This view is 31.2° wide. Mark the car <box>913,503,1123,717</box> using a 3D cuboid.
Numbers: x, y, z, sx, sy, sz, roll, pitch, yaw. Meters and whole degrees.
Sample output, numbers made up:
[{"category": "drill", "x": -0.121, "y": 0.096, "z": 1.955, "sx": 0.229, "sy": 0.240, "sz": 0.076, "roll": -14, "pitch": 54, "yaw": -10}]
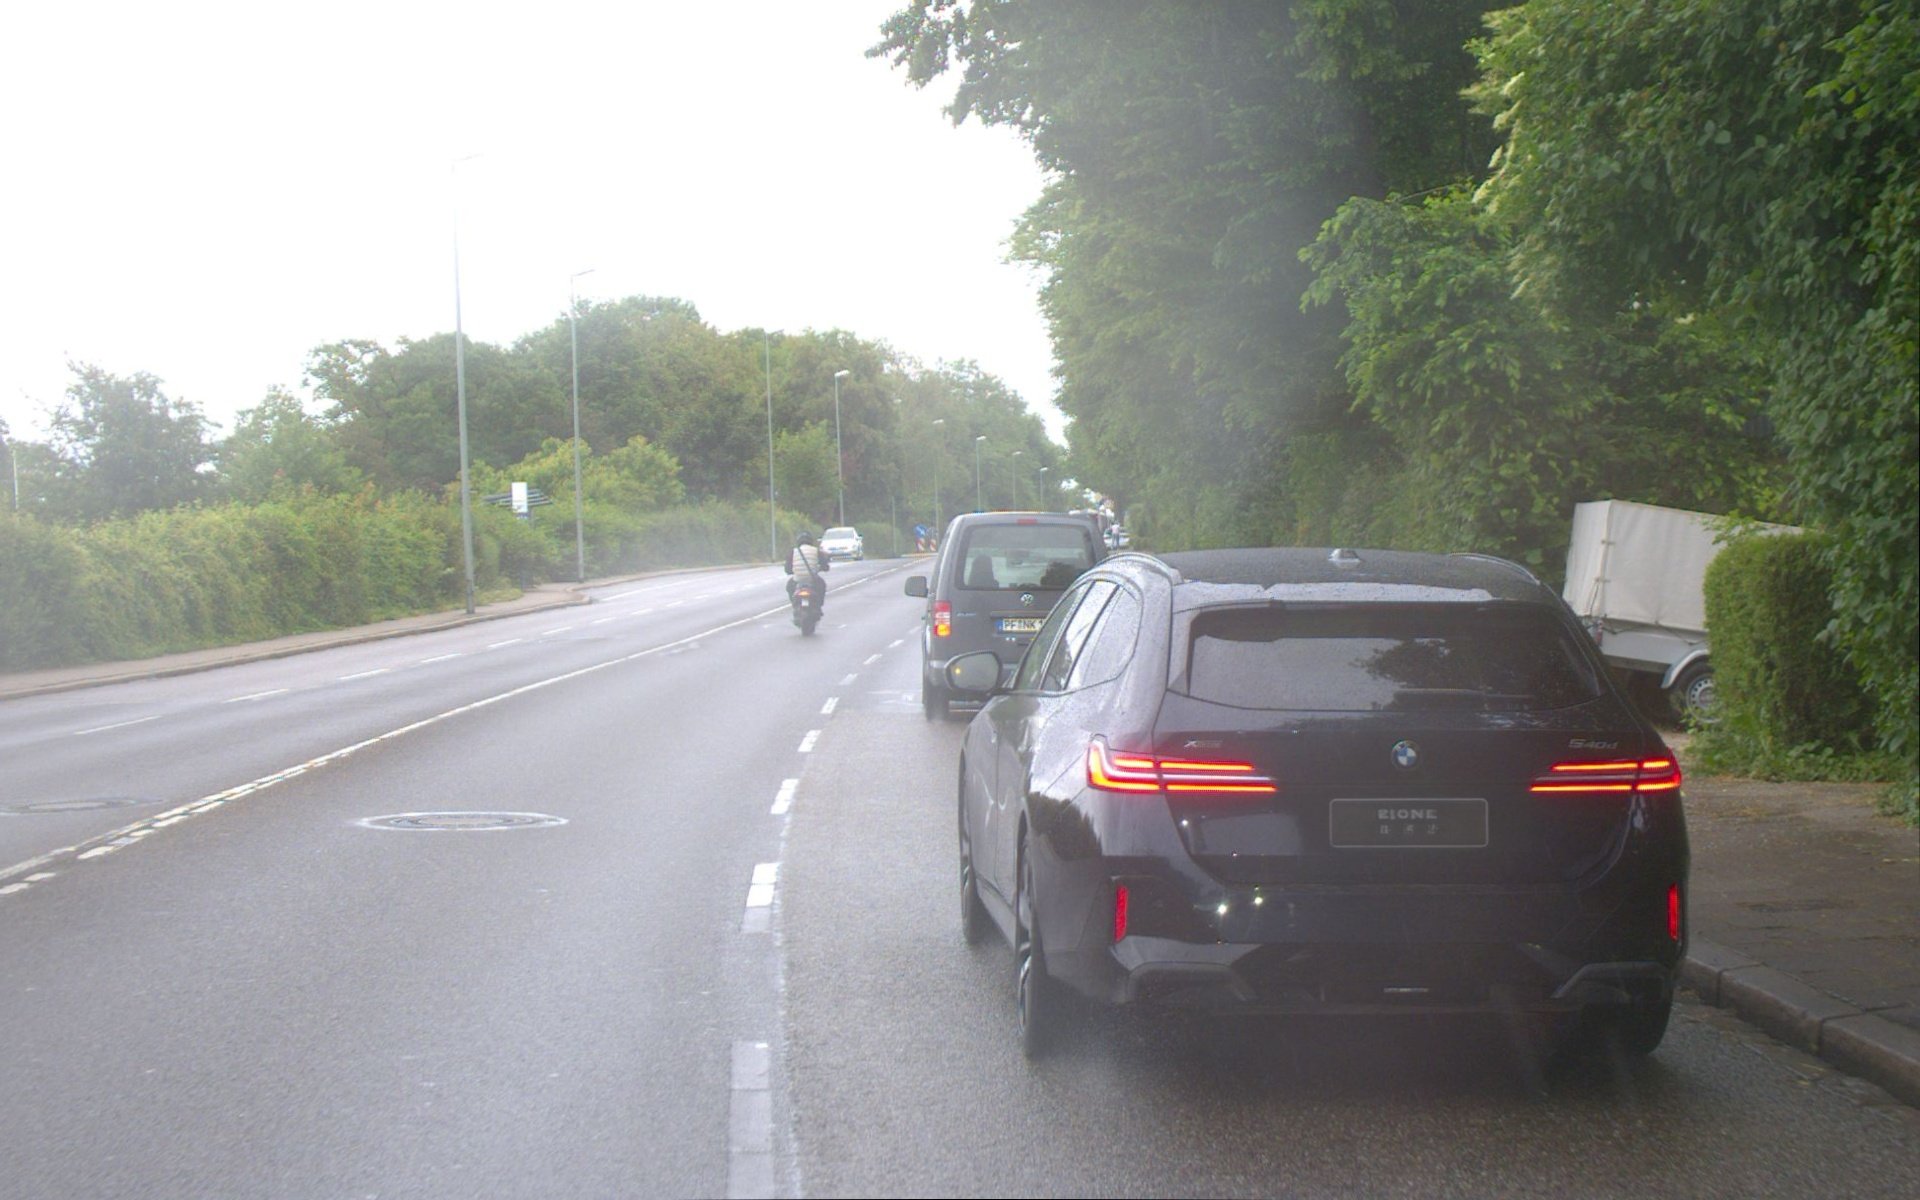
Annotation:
[{"category": "car", "x": 0.471, "y": 0.028, "z": 31.315, "sx": 1.767, "sy": 1.803, "sz": 3.906, "roll": 0, "pitch": 2, "yaw": -1}]

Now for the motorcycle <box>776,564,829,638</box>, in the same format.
[{"category": "motorcycle", "x": -2.492, "y": 0.012, "z": 54.520, "sx": 0.741, "sy": 1.115, "sz": 1.426, "roll": 0, "pitch": 2, "yaw": 2}]

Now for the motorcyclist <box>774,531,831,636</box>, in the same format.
[{"category": "motorcyclist", "x": -2.485, "y": -0.260, "z": 54.410, "sx": 0.845, "sy": 1.641, "sz": 0.468, "roll": 0, "pitch": 2, "yaw": 2}]

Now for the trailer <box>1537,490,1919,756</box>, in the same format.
[{"category": "trailer", "x": 6.222, "y": 0.199, "z": 25.919, "sx": 3.348, "sy": 1.642, "sz": 1.199, "roll": 7, "pitch": 1, "yaw": -1}]

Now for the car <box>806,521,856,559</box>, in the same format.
[{"category": "car", "x": -5.831, "y": -2.703, "z": 155.378, "sx": 1.748, "sy": 1.656, "sz": 3.856, "roll": 0, "pitch": 2, "yaw": -10}]

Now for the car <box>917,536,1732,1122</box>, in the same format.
[{"category": "car", "x": 0.951, "y": 0.588, "z": 10.901, "sx": 1.764, "sy": 1.531, "sz": 3.673, "roll": 1, "pitch": 1, "yaw": -7}]
